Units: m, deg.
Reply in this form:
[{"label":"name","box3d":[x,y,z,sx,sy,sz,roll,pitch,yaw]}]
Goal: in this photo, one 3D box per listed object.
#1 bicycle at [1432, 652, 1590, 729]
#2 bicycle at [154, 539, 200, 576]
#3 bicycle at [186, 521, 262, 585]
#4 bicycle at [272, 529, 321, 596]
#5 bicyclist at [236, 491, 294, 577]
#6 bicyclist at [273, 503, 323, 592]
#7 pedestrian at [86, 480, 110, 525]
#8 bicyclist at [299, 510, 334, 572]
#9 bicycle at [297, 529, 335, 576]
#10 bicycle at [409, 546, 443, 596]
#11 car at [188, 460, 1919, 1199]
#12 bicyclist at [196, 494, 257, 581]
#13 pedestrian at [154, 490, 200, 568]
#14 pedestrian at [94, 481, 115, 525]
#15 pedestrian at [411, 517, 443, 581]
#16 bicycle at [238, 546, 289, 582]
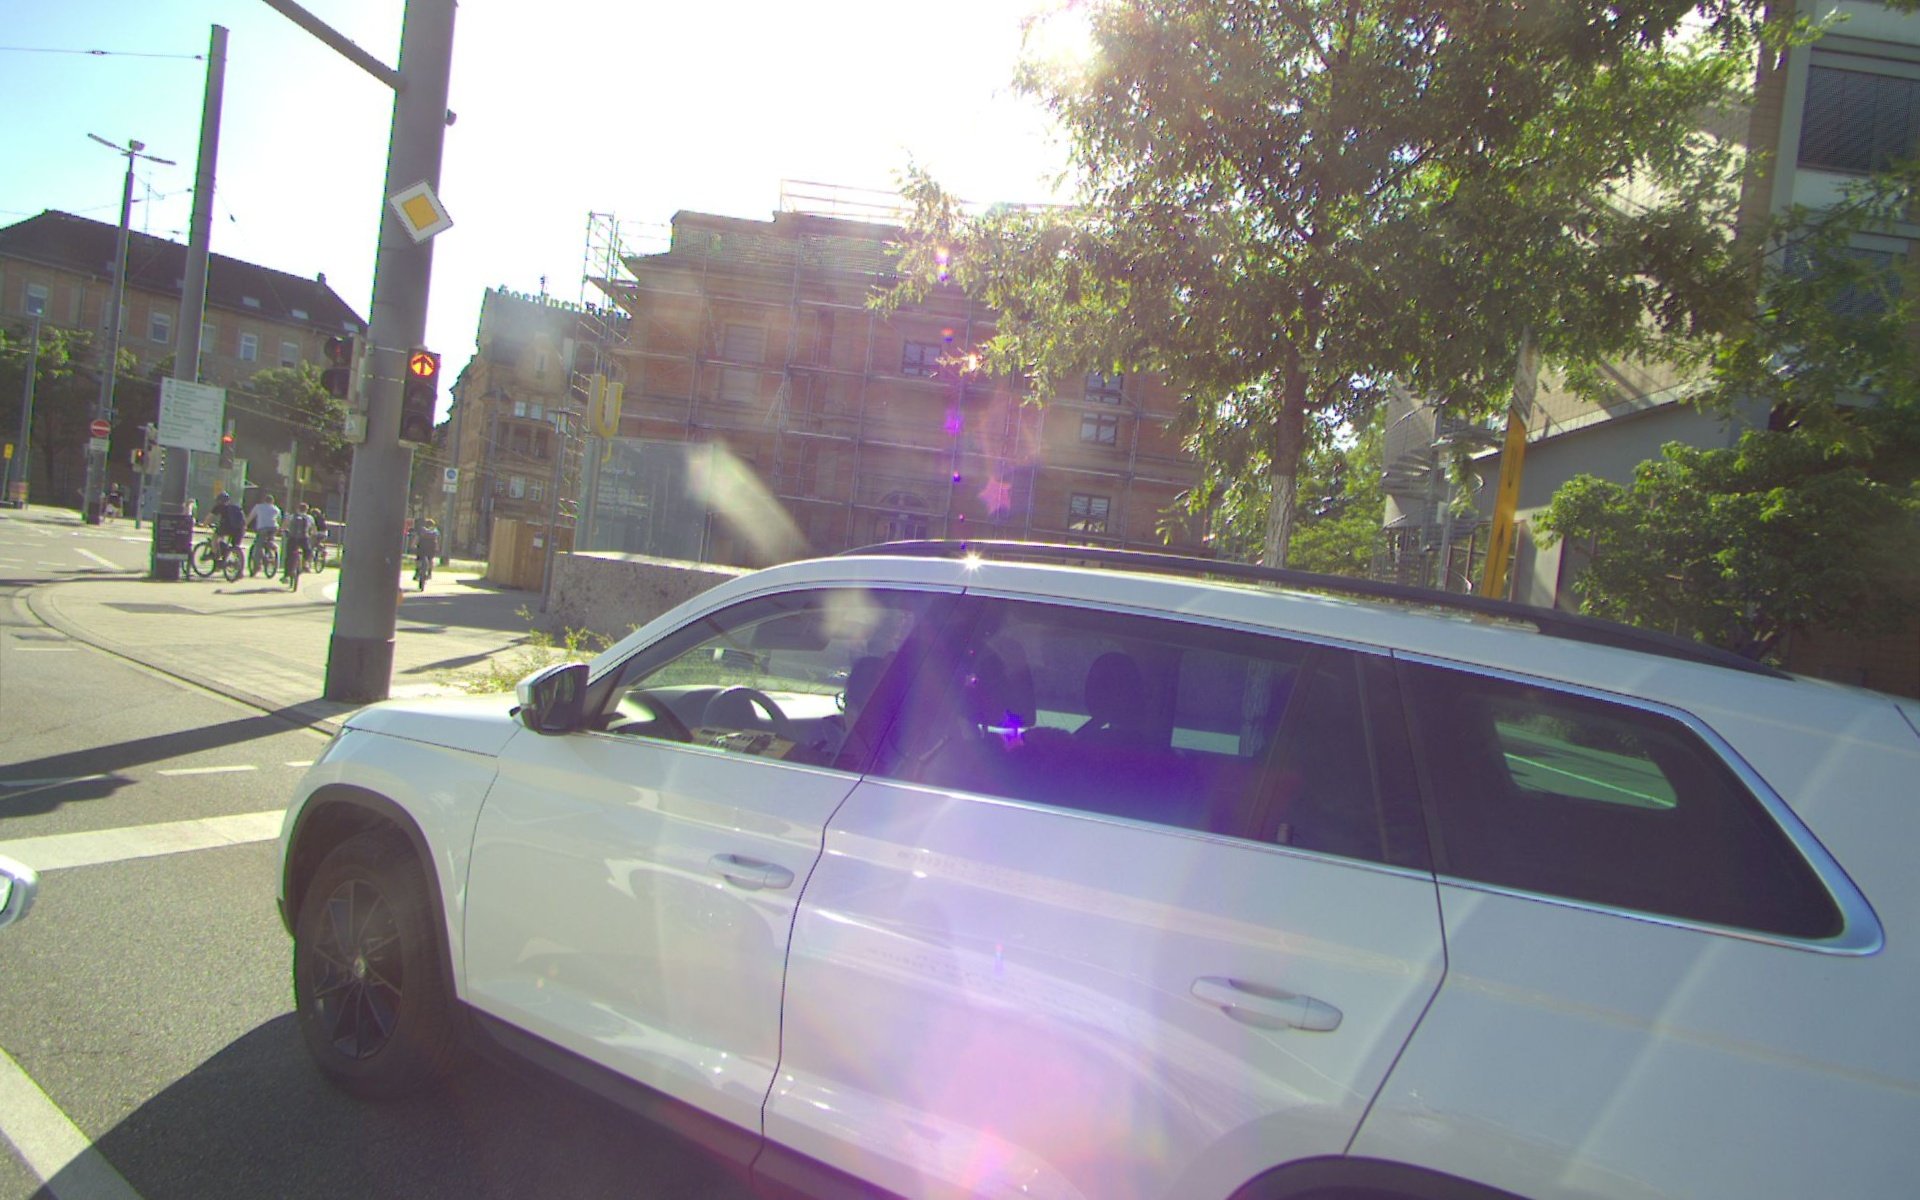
[{"label":"bicycle","box3d":[13.089,2.138,23.997,3.079,1.395,0.798,7,1,8]},{"label":"bicycle","box3d":[-16.965,-0.924,21.778,1.702,0.664,0.535,7,3,44]},{"label":"bicycle","box3d":[-15.068,-0.965,20.579,1.821,1.129,0.625,7,3,34]},{"label":"bicycle","box3d":[-13.013,-0.758,19.760,0.680,1.178,1.867,6,1,-33]},{"label":"bicyclist","box3d":[-15.750,-1.493,22.787,0.910,1.802,0.746,8,2,39]},{"label":"bicyclist","box3d":[-13.014,-1.034,19.800,0.680,1.619,0.968,6,1,-33]},{"label":"pedestrian","box3d":[-41.076,-4.661,47.941,0.443,2.039,0.574,7,1,14]},{"label":"bicyclist","box3d":[-17.533,-1.606,27.407,0.569,1.588,0.936,6,1,-39]},{"label":"bicycle","box3d":[-17.550,-1.304,27.393,0.569,1.139,1.721,7,0,-39]},{"label":"bicycle","box3d":[-12.530,-0.696,23.619,0.510,1.058,1.757,5,2,-24]},{"label":"car","box3d":[-0.033,0.682,2.713,4.224,1.662,1.697,7,0,30]},{"label":"bicyclist","box3d":[-14.959,-1.267,20.509,0.979,1.659,0.625,7,3,34]},{"label":"pedestrian","box3d":[-16.879,-1.532,21.678,0.846,1.582,0.547,7,1,43]},{"label":"pedestrian","box3d":[-41.451,-4.717,48.757,0.443,2.039,0.462,7,2,14]},{"label":"pedestrian","box3d":[-12.473,-1.195,23.567,0.510,1.421,0.955,4,3,-24]},{"label":"bicycle","box3d":[-15.817,-0.821,22.838,1.446,0.664,0.536,7,2,39]}]
